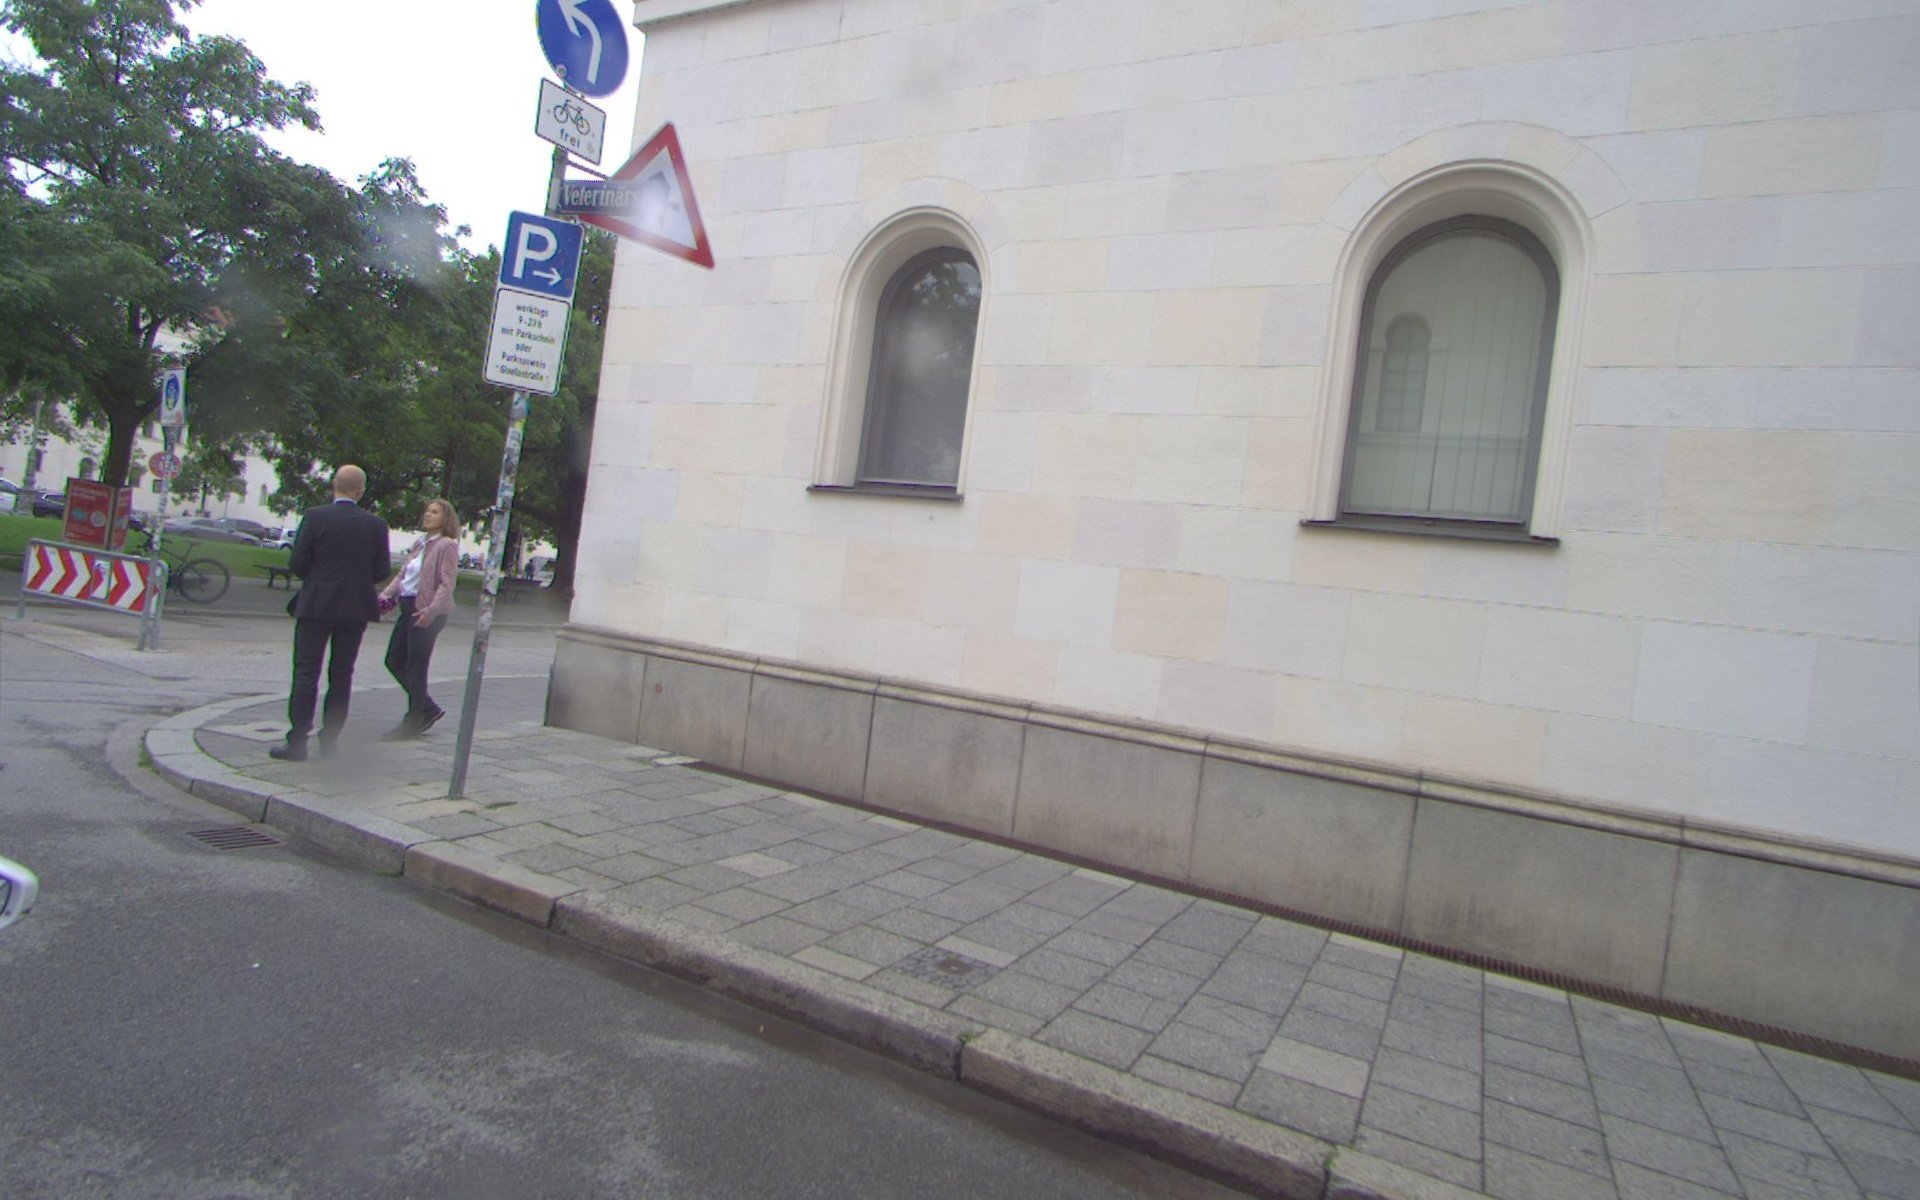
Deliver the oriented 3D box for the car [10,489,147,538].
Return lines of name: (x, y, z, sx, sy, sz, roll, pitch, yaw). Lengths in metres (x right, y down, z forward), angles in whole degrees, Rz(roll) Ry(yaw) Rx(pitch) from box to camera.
car: (-40.858, -3.993, 46.745, 1.772, 1.435, 4.367, 8, -1, 29)

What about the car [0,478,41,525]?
car: (-48.118, -5.106, 49.087, 1.793, 2.037, 4.336, 8, -2, 31)

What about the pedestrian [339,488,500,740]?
pedestrian: (-3.902, 0.111, 7.294, 0.535, 1.701, 0.623, 8, -1, 22)

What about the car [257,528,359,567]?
car: (-36.380, -2.921, 56.259, 1.772, 1.435, 4.367, 8, -1, 29)

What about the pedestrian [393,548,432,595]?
pedestrian: (-14.047, -0.726, 25.829, 0.608, 1.078, 0.531, 8, -1, 32)

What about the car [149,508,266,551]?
car: (-38.501, -3.567, 51.565, 1.772, 1.435, 4.367, 8, -1, 29)

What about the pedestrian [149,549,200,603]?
pedestrian: (-12.386, -0.378, 15.864, 0.452, 0.771, 0.415, 8, -1, 32)

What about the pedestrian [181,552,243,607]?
pedestrian: (-12.120, -0.323, 16.306, 0.557, 0.771, 0.570, 8, -1, 32)

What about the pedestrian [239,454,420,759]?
pedestrian: (-4.016, 0.053, 6.427, 0.481, 1.830, 0.642, 8, 0, 33)
